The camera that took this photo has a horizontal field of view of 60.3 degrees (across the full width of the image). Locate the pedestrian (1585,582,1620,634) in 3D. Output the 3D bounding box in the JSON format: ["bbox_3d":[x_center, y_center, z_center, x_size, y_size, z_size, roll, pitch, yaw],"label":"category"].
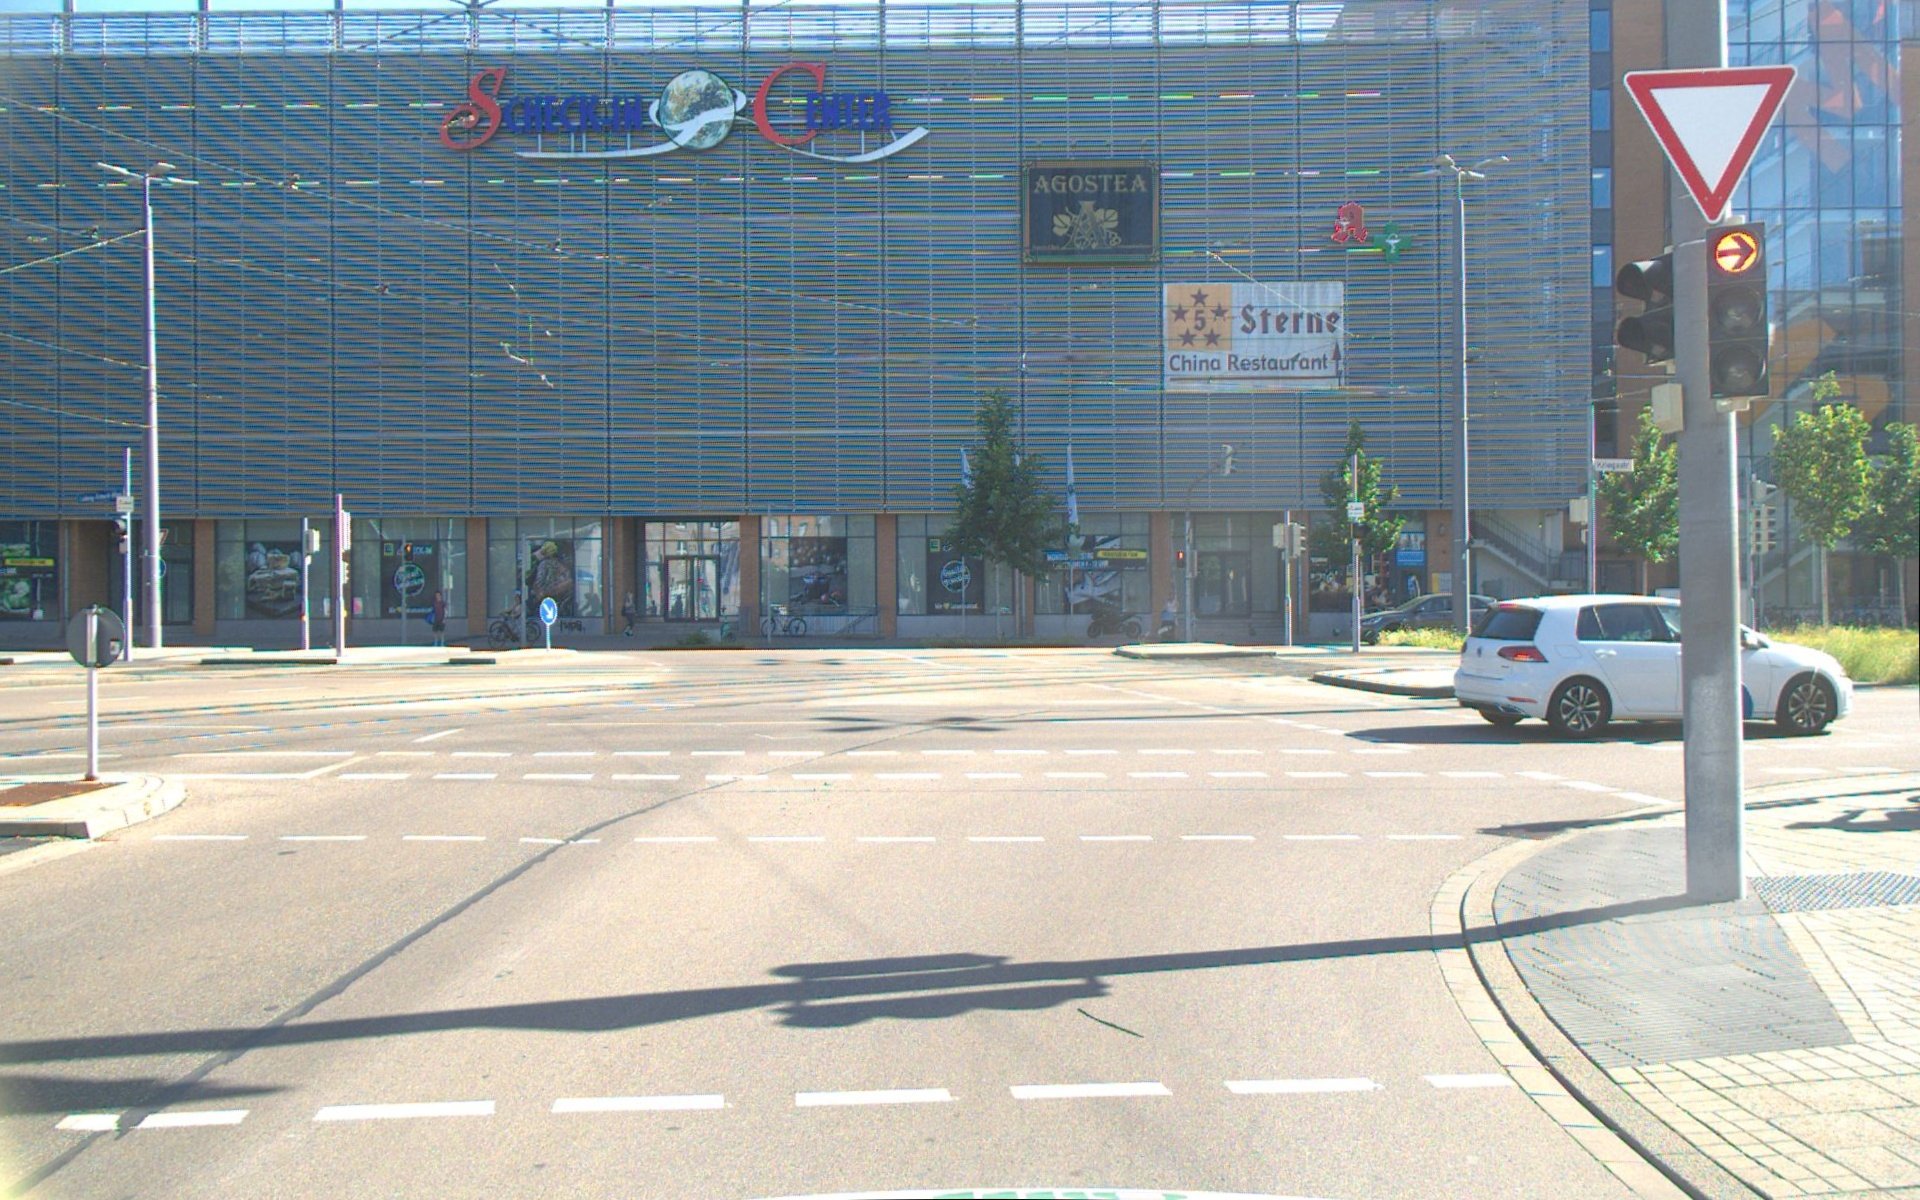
[{"bbox_3d":[23.689,0.306,60.962,1.013,1.860,1.014,-2,0,30],"label":"pedestrian"}]

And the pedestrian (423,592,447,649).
[{"bbox_3d":[-17.337,0.669,54.658,0.683,1.829,0.727,-2,0,-17],"label":"pedestrian"}]

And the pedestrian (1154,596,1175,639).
[{"bbox_3d":[6.858,0.582,55.354,0.641,1.438,0.850,1,-1,10],"label":"pedestrian"}]

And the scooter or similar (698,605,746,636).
[{"bbox_3d":[-8.745,0.754,60.770,1.759,1.085,0.611,0,1,-9],"label":"scooter or similar"}]

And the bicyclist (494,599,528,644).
[{"bbox_3d":[-14.798,0.697,54.534,0.663,1.452,0.844,0,2,42],"label":"bicyclist"}]

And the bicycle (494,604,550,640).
[{"bbox_3d":[-15.446,0.778,58.338,1.819,1.238,0.569,-1,1,-2],"label":"bicycle"}]

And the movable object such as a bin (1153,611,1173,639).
[{"bbox_3d":[6.743,0.836,54.887,0.599,0.920,0.970,1,0,10],"label":"movable object such as a bin"}]

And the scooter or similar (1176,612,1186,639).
[{"bbox_3d":[7.368,0.838,55.180,0.288,0.888,1.004,1,0,10],"label":"scooter or similar"}]

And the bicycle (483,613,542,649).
[{"bbox_3d":[-14.766,1.013,54.609,0.559,1.105,1.852,0,2,42],"label":"bicycle"}]

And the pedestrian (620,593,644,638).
[{"bbox_3d":[-12.027,0.552,60.608,0.646,1.629,0.594,1,-1,18],"label":"pedestrian"}]

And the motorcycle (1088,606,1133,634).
[{"bbox_3d":[5.531,0.732,60.698,1.605,1.022,0.447,1,0,6],"label":"motorcycle"}]

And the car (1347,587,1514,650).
[{"bbox_3d":[13.052,0.518,46.045,4.063,1.495,1.840,3,-1,-2],"label":"car"}]

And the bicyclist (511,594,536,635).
[{"bbox_3d":[-15.387,0.520,58.317,0.738,1.410,0.565,-1,1,-1],"label":"bicyclist"}]

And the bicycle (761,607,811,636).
[{"bbox_3d":[-6.364,0.785,60.423,1.783,1.006,0.556,0,1,-11],"label":"bicycle"}]

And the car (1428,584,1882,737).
[{"bbox_3d":[7.437,0.597,17.874,4.204,1.498,1.861,-1,0,-10],"label":"car"}]

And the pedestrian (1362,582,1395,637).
[{"bbox_3d":[14.814,0.340,58.564,0.930,1.860,0.846,-2,-4,5],"label":"pedestrian"}]
